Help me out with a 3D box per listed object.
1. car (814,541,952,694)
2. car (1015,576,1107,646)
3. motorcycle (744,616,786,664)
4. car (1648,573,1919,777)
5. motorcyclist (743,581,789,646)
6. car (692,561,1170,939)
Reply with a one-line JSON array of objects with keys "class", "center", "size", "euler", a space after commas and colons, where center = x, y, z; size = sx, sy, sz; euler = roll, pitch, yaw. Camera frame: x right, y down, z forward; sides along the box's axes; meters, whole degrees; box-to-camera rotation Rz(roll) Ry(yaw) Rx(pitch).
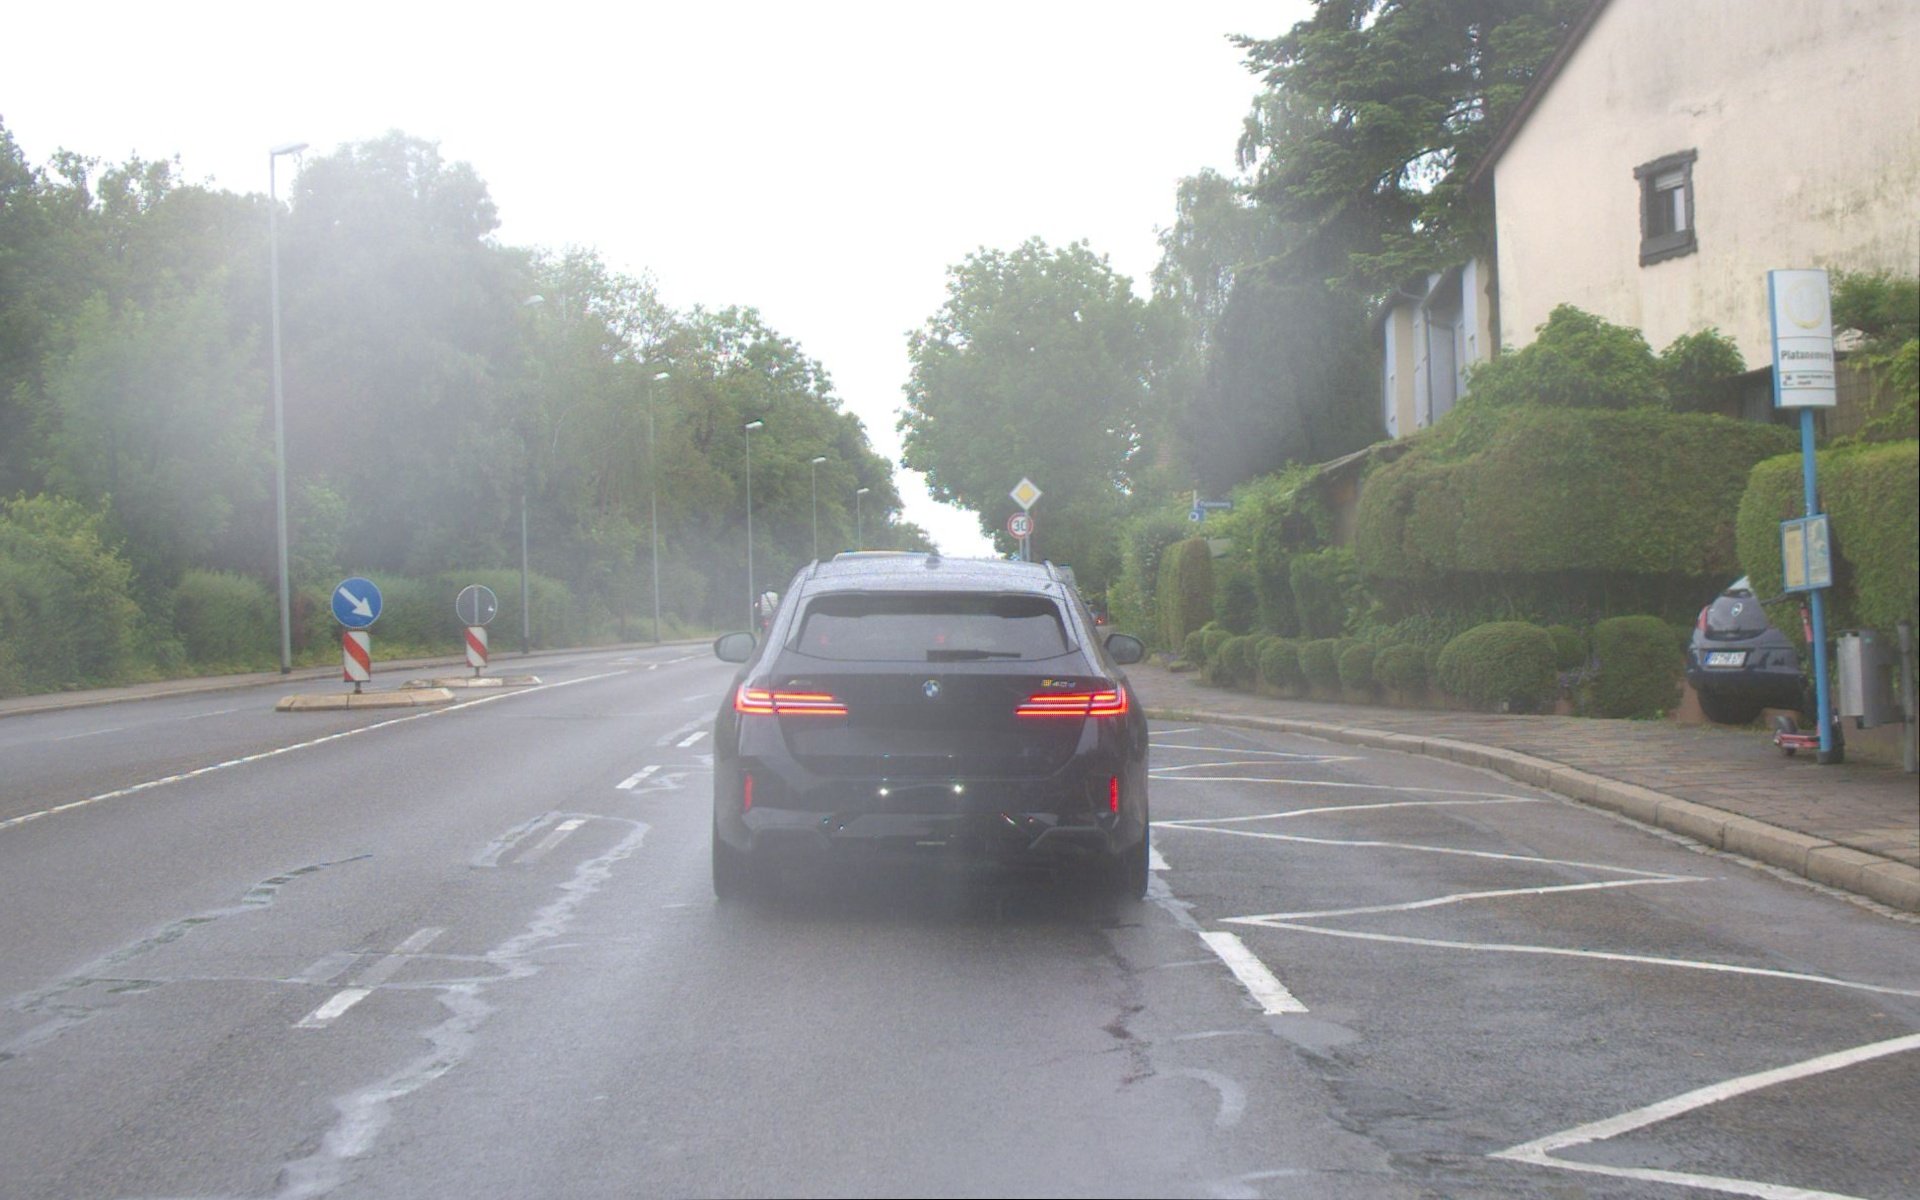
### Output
[{"class": "car", "center": [-0.971, 0.186, 43.974], "size": [1.629, 1.827, 4.000], "euler": [-2, 1, -1]}, {"class": "car", "center": [2.227, 0.229, 75.788], "size": [1.935, 1.437, 4.408], "euler": [-2, 0, 2]}, {"class": "motorcycle", "center": [-4.719, 0.966, 83.302], "size": [0.876, 1.120, 2.741], "euler": [1, 0, -1]}, {"class": "car", "center": [7.731, 0.717, 27.965], "size": [3.695, 1.294, 1.773], "euler": [9, -4, -20]}, {"class": "motorcyclist", "center": [-4.699, 0.333, 83.277], "size": [1.039, 1.562, 0.855], "euler": [1, 0, -1]}, {"class": "car", "center": [-0.114, 0.589, 15.821], "size": [1.897, 1.484, 4.000], "euler": [1, 0, 0]}]
